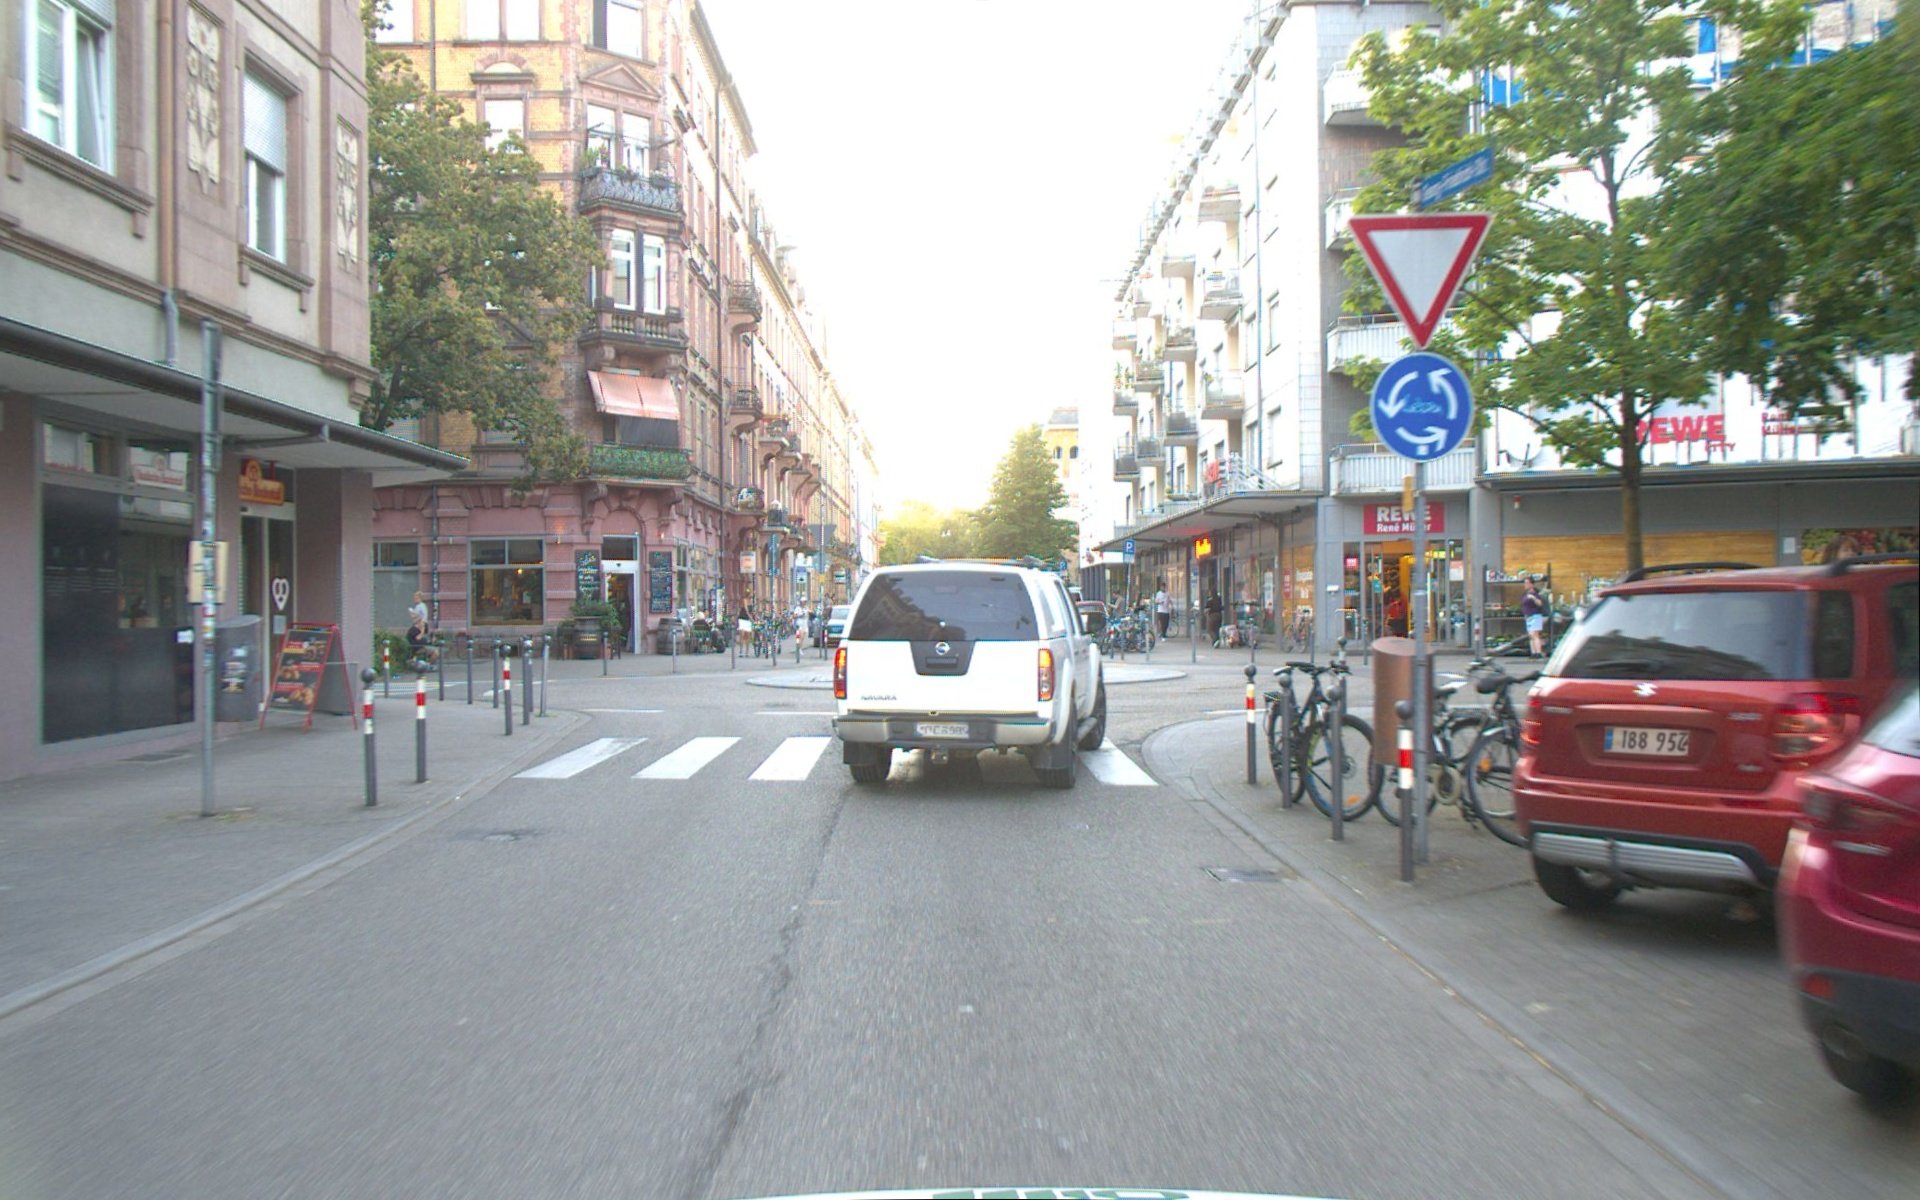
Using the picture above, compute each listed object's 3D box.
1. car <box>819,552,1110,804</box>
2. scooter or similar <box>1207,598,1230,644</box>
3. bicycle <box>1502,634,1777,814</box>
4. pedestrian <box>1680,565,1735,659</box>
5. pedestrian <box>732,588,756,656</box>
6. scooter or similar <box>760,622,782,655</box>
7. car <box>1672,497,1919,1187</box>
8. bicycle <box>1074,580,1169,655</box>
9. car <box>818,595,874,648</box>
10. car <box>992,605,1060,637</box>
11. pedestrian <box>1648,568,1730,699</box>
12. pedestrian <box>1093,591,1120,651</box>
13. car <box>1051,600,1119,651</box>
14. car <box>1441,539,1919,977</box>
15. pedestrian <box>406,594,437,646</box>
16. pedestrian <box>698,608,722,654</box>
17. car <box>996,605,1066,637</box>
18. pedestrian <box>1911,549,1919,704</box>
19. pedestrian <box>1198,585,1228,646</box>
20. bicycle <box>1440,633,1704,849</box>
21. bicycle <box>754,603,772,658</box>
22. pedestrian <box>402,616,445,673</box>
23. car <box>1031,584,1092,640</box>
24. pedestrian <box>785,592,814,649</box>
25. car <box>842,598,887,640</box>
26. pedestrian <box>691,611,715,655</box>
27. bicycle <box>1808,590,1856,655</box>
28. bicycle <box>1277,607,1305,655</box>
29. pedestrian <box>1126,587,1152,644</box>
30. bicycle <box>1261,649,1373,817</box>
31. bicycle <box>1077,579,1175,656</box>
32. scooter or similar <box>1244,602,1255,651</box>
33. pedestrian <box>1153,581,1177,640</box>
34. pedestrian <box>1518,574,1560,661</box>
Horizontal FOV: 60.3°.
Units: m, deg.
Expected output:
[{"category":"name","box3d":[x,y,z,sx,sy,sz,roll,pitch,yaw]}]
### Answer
[{"category":"car","box3d":[0.245,0.524,14.697,1.896,1.841,5.005,0,1,8]},{"category":"scooter or similar","box3d":[7.433,0.602,47.537,0.430,1.313,1.668,1,-1,2]},{"category":"bicycle","box3d":[4.492,0.779,11.062,0.590,1.082,1.753,1,-1,-27]},{"category":"pedestrian","box3d":[14.093,0.228,31.203,0.712,1.756,0.659,1,-1,-30]},{"category":"pedestrian","box3d":[-5.939,0.606,45.505,0.497,1.872,0.569,1,-1,-23]},{"category":"scooter or similar","box3d":[-5.505,1.113,48.108,0.230,0.945,1.256,1,-1,-25]},{"category":"car","box3d":[4.205,0.489,5.144,4.184,1.717,1.906,-4,1,-39]},{"category":"bicycle","box3d":[4.492,0.489,46.115,2.593,2.049,0.638,1,-1,0]},{"category":"car","box3d":[-4.031,0.765,58.946,1.797,1.780,3.999,1,-1,-1]},{"category":"car","box3d":[3.899,1.241,97.774,3.906,1.780,1.840,1,-1,-2]},{"category":"pedestrian","box3d":[10.321,0.472,23.444,0.847,1.801,0.949,1,-1,9]},{"category":"pedestrian","box3d":[4.196,0.595,47.432,0.705,1.692,0.702,1,-1,0]},{"category":"car","box3d":[3.950,0.808,52.767,1.797,1.569,3.999,1,-1,-1]},{"category":"car","box3d":[4.407,0.547,8.177,3.998,1.656,1.674,-3,1,-33]},{"category":"pedestrian","box3d":[-13.310,0.491,40.871,0.446,1.285,0.575,0,-1,24]},{"category":"pedestrian","box3d":[-7.248,0.903,47.972,0.636,1.308,0.539,1,-1,-5]},{"category":"car","box3d":[4.049,1.209,95.117,3.906,1.780,1.840,1,-1,-2]},{"category":"pedestrian","box3d":[11.983,0.322,19.797,0.847,1.860,0.837,0,-1,15]},{"category":"pedestrian","box3d":[7.028,0.429,45.961,0.705,1.692,0.702,1,-1,0]},{"category":"bicycle","box3d":[3.644,0.813,9.848,1.522,1.181,0.364,-2,0,-15]},{"category":"bicycle","box3d":[-5.398,0.830,45.371,0.415,1.468,1.902,1,-1,-5]},{"category":"pedestrian","box3d":[-12.277,1.021,37.871,0.739,1.285,0.668,1,-1,-1]},{"category":"car","box3d":[3.744,0.453,61.549,1.903,1.967,3.999,1,-1,-1]},{"category":"pedestrian","box3d":[-4.729,0.612,48.698,0.782,1.649,0.944,1,-1,-3]},{"category":"car","box3d":[-4.173,0.838,72.999,1.797,1.780,4.161,1,-1,-1]},{"category":"pedestrian","box3d":[-7.267,0.936,46.785,0.636,1.212,0.539,1,-1,-5]},{"category":"bicycle","box3d":[16.706,0.435,31.665,0.343,1.224,1.797,0,-1,43]},{"category":"bicycle","box3d":[7.897,0.733,39.462,0.284,1.132,0.963,1,-1,-13]},{"category":"pedestrian","box3d":[5.414,0.467,50.114,0.705,1.692,0.702,1,-1,0]},{"category":"bicycle","box3d":[2.517,0.910,11.778,0.357,1.082,1.551,1,-1,-4]},{"category":"bicycle","box3d":[4.538,0.479,45.301,2.593,2.049,0.638,1,-1,0]},{"category":"scooter or similar","box3d":[7.639,0.694,43.604,0.214,1.259,0.967,0,1,7]},{"category":"pedestrian","box3d":[6.829,0.342,55.040,0.705,1.940,0.702,1,-1,0]},{"category":"pedestrian","box3d":[11.442,0.344,32.666,0.702,1.681,0.713,0,-1,26]}]
